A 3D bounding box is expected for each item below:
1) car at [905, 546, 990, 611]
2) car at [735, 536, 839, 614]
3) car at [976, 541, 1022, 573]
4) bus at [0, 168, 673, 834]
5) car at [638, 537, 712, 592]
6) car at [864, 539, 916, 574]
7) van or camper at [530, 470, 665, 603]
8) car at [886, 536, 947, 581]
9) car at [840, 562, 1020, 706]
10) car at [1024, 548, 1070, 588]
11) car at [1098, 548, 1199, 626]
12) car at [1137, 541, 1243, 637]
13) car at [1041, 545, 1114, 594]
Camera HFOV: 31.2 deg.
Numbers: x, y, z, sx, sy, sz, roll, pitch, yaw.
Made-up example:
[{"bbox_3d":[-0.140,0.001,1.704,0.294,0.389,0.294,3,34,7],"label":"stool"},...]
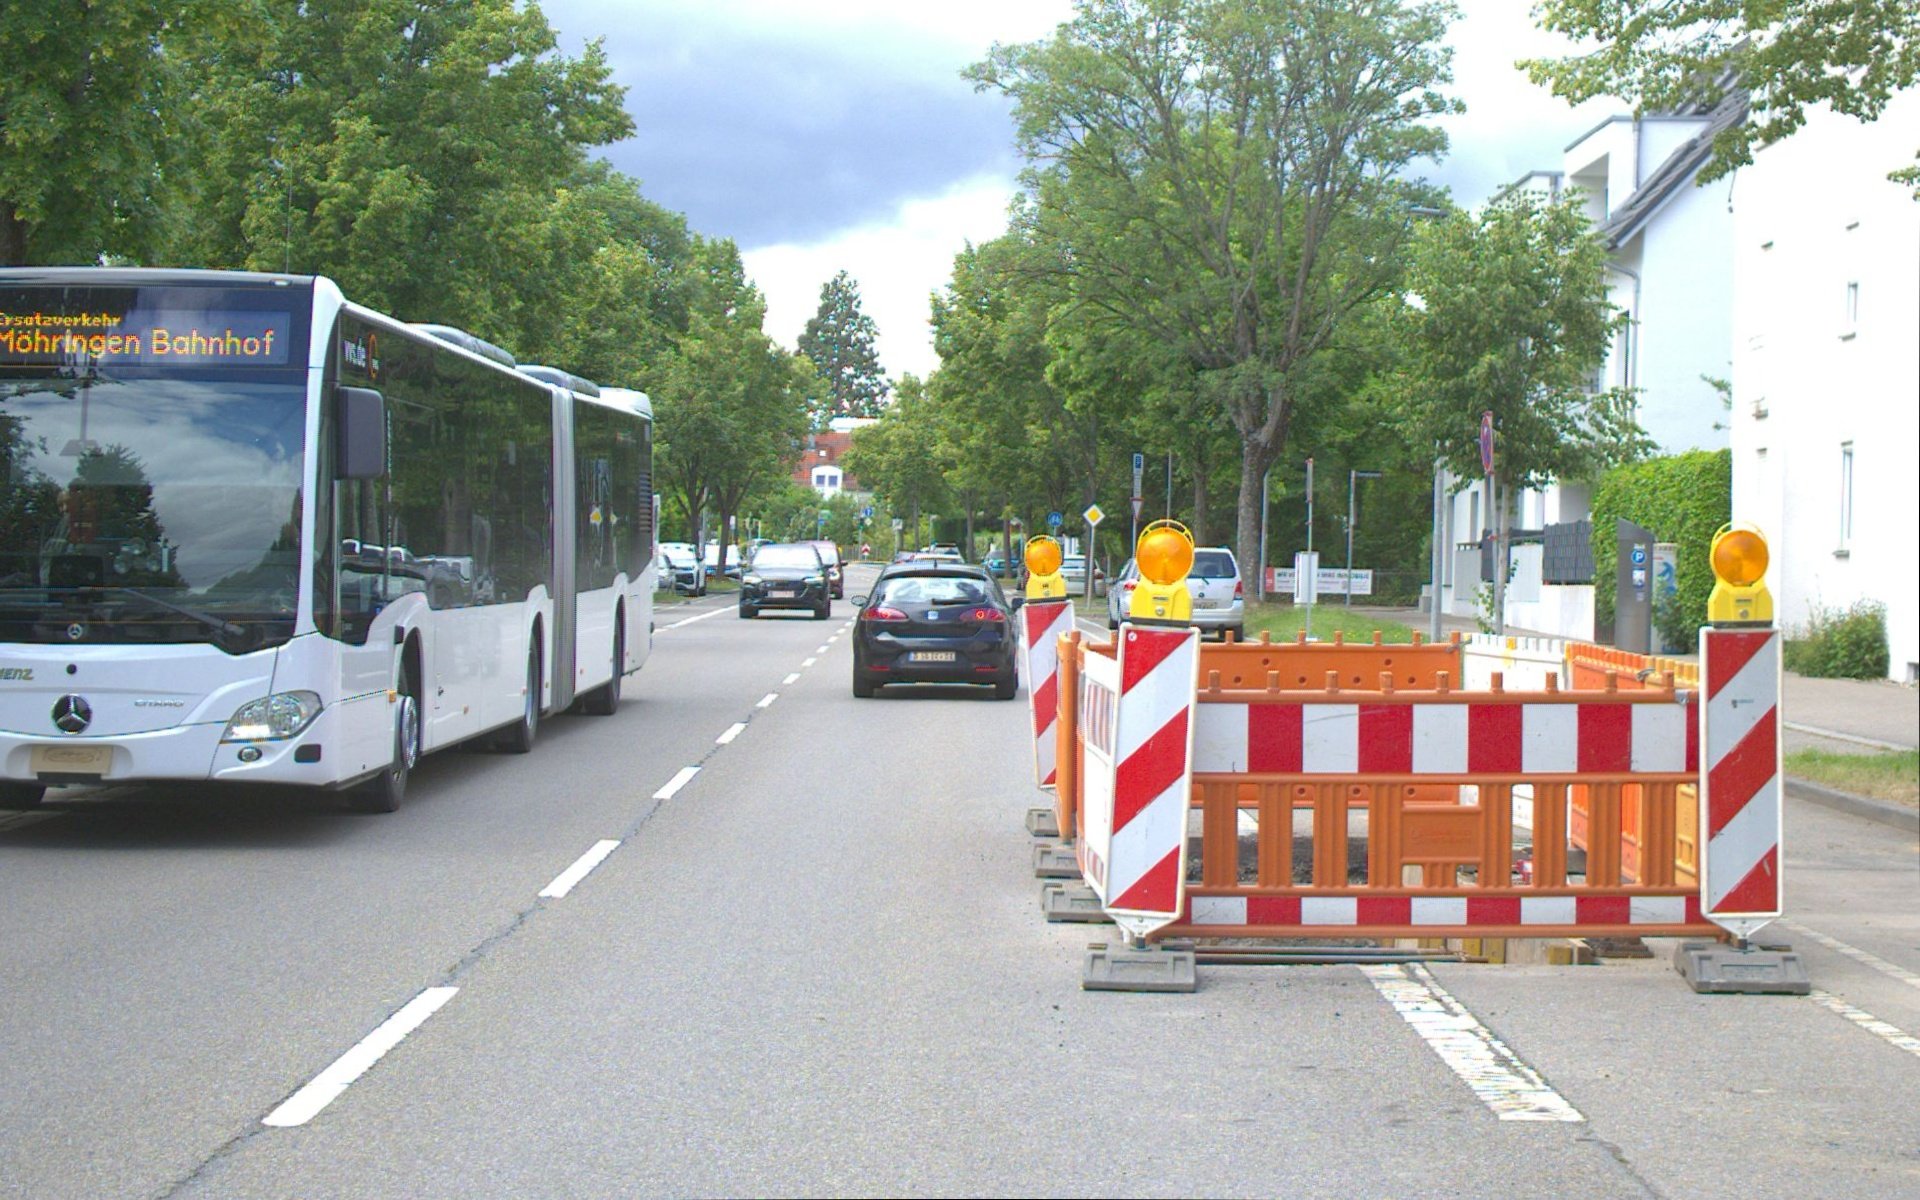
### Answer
[{"bbox_3d":[-0.294,-0.543,85.688,1.993,1.552,4.000,1,1,1],"label":"car"},{"bbox_3d":[-3.833,-0.574,76.850,1.993,1.662,4.589,-1,1,1],"label":"car"},{"bbox_3d":[1.815,-2.023,161.325,1.683,1.427,4.045,1,1,-6],"label":"car"},{"bbox_3d":[-4.452,-0.545,26.174,2.805,3.277,18.045,1,0,0],"label":"bus"},{"bbox_3d":[-8.918,-1.124,107.927,1.817,1.646,4.699,1,1,1],"label":"car"},{"bbox_3d":[-3.166,-1.941,154.379,1.993,1.503,4.001,1,0,-5],"label":"car"},{"bbox_3d":[-8.585,-1.501,82.089,2.435,2.999,7.693,1,1,0],"label":"van or camper"},{"bbox_3d":[-1.556,-1.474,121.021,1.993,1.525,4.001,1,1,-2],"label":"car"},{"bbox_3d":[-0.371,0.332,37.261,1.783,1.444,3.558,1,1,-3],"label":"car"},{"bbox_3d":[3.188,-1.183,126.328,1.638,1.415,4.000,1,1,1],"label":"car"},{"bbox_3d":[3.709,-0.284,68.159,1.687,1.488,4.227,1,1,-1],"label":"car"},{"bbox_3d":[4.156,-0.224,62.416,1.632,1.660,3.648,1,1,0],"label":"car"},{"bbox_3d":[3.589,-0.958,106.026,2.021,1.438,5.025,1,1,0],"label":"car"}]
